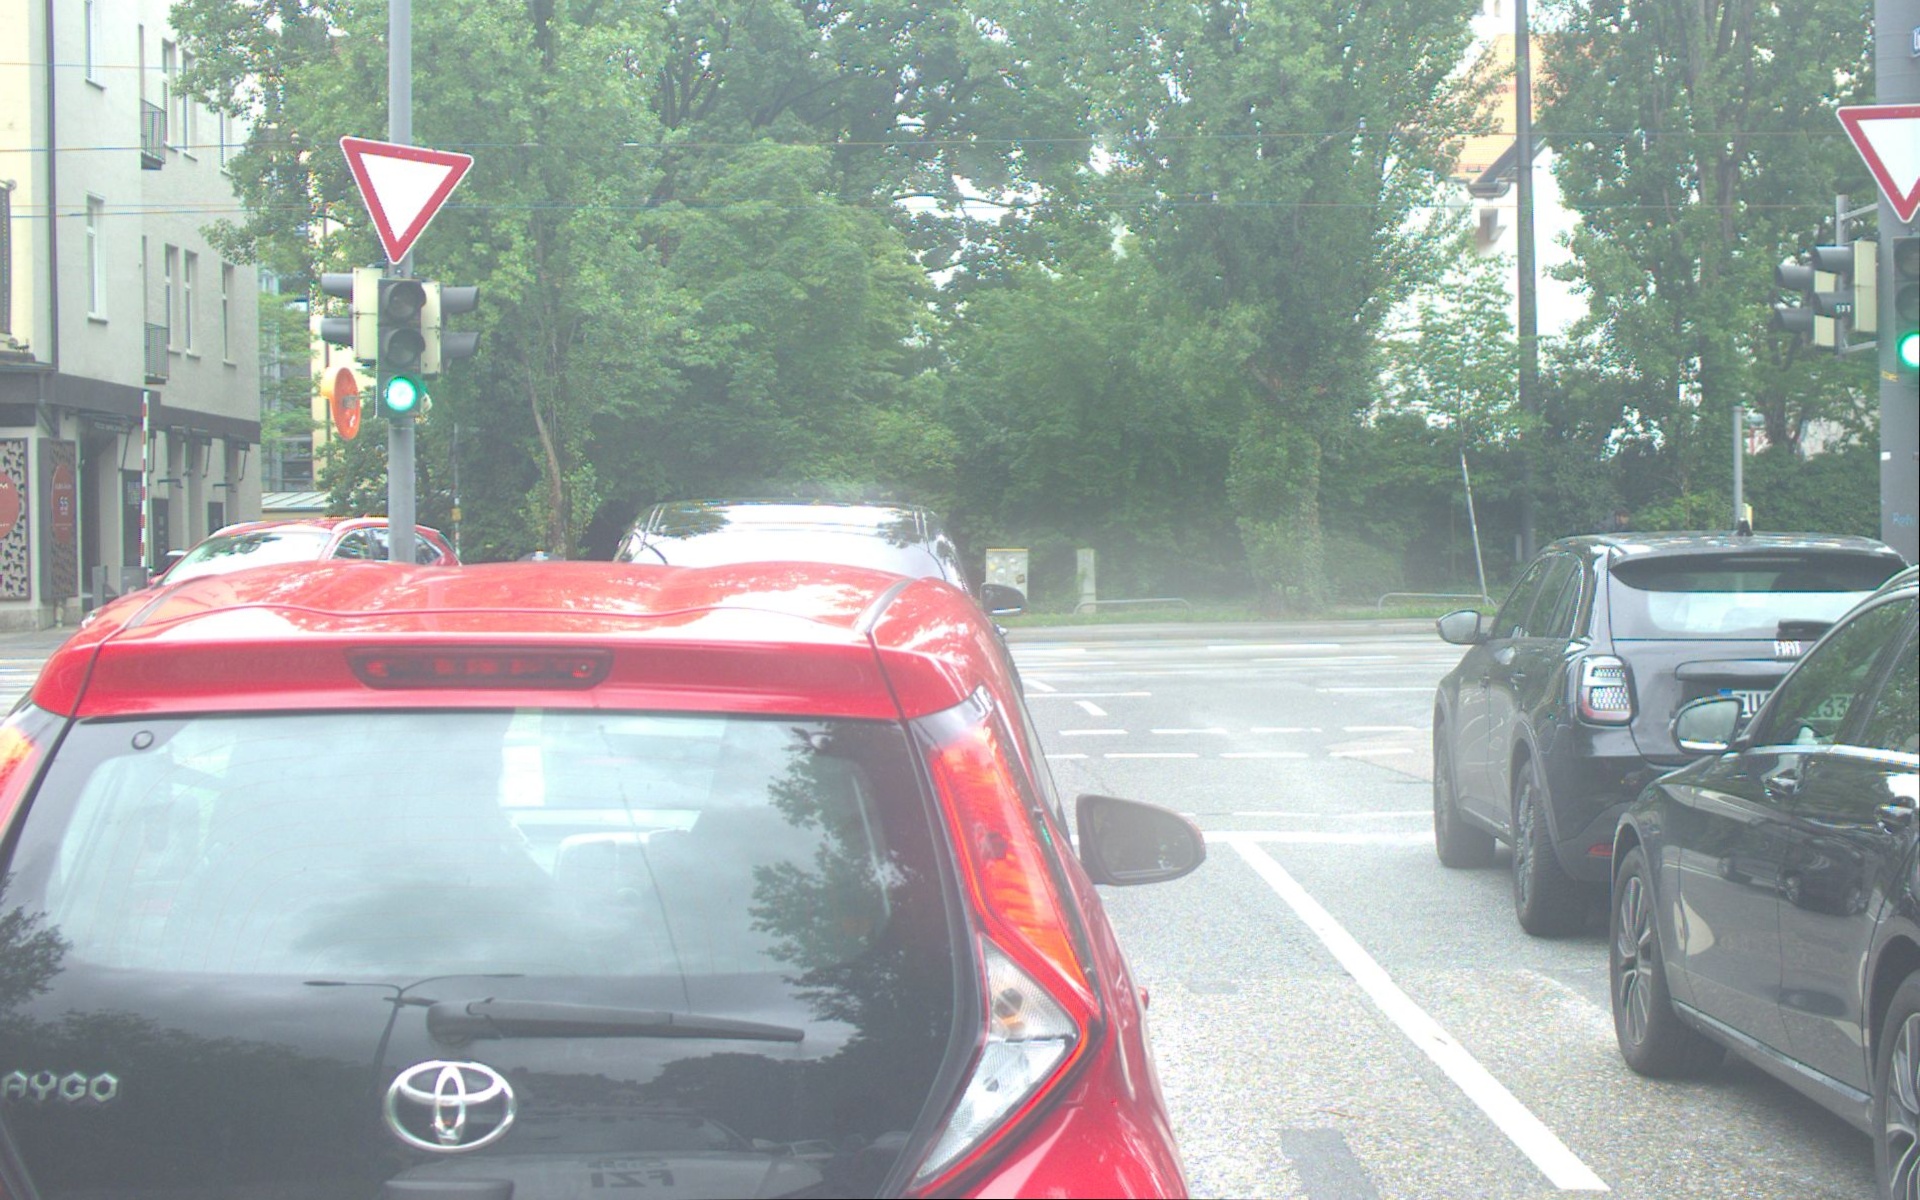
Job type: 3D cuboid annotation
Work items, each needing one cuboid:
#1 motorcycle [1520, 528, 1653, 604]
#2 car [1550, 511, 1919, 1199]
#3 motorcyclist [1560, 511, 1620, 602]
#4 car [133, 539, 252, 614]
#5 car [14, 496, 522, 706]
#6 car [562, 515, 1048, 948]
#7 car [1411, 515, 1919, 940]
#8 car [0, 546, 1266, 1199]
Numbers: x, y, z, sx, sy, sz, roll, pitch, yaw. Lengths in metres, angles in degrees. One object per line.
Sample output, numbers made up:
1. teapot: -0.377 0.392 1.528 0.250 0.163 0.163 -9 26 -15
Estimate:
1. motorcycle: 9.977 -0.542 54.774 2.023 1.165 0.630 1 0 5
2. car: 2.722 0.585 7.941 1.863 1.544 4.704 1 1 0
3. motorcyclist: 10.033 -0.691 54.763 0.879 1.438 0.620 1 0 5
4. car: -15.414 -0.497 69.220 1.725 1.437 4.001 -1 1 -4
5. car: -6.077 -0.051 30.904 2.105 1.632 4.934 -1 2 21
6. car: -0.534 0.426 14.733 1.736 1.544 4.576 -1 1 1
7. car: 2.986 0.419 14.138 1.781 1.481 4.000 -1 1 1
8. car: -0.497 0.663 5.023 1.628 1.435 3.377 -1 1 1
